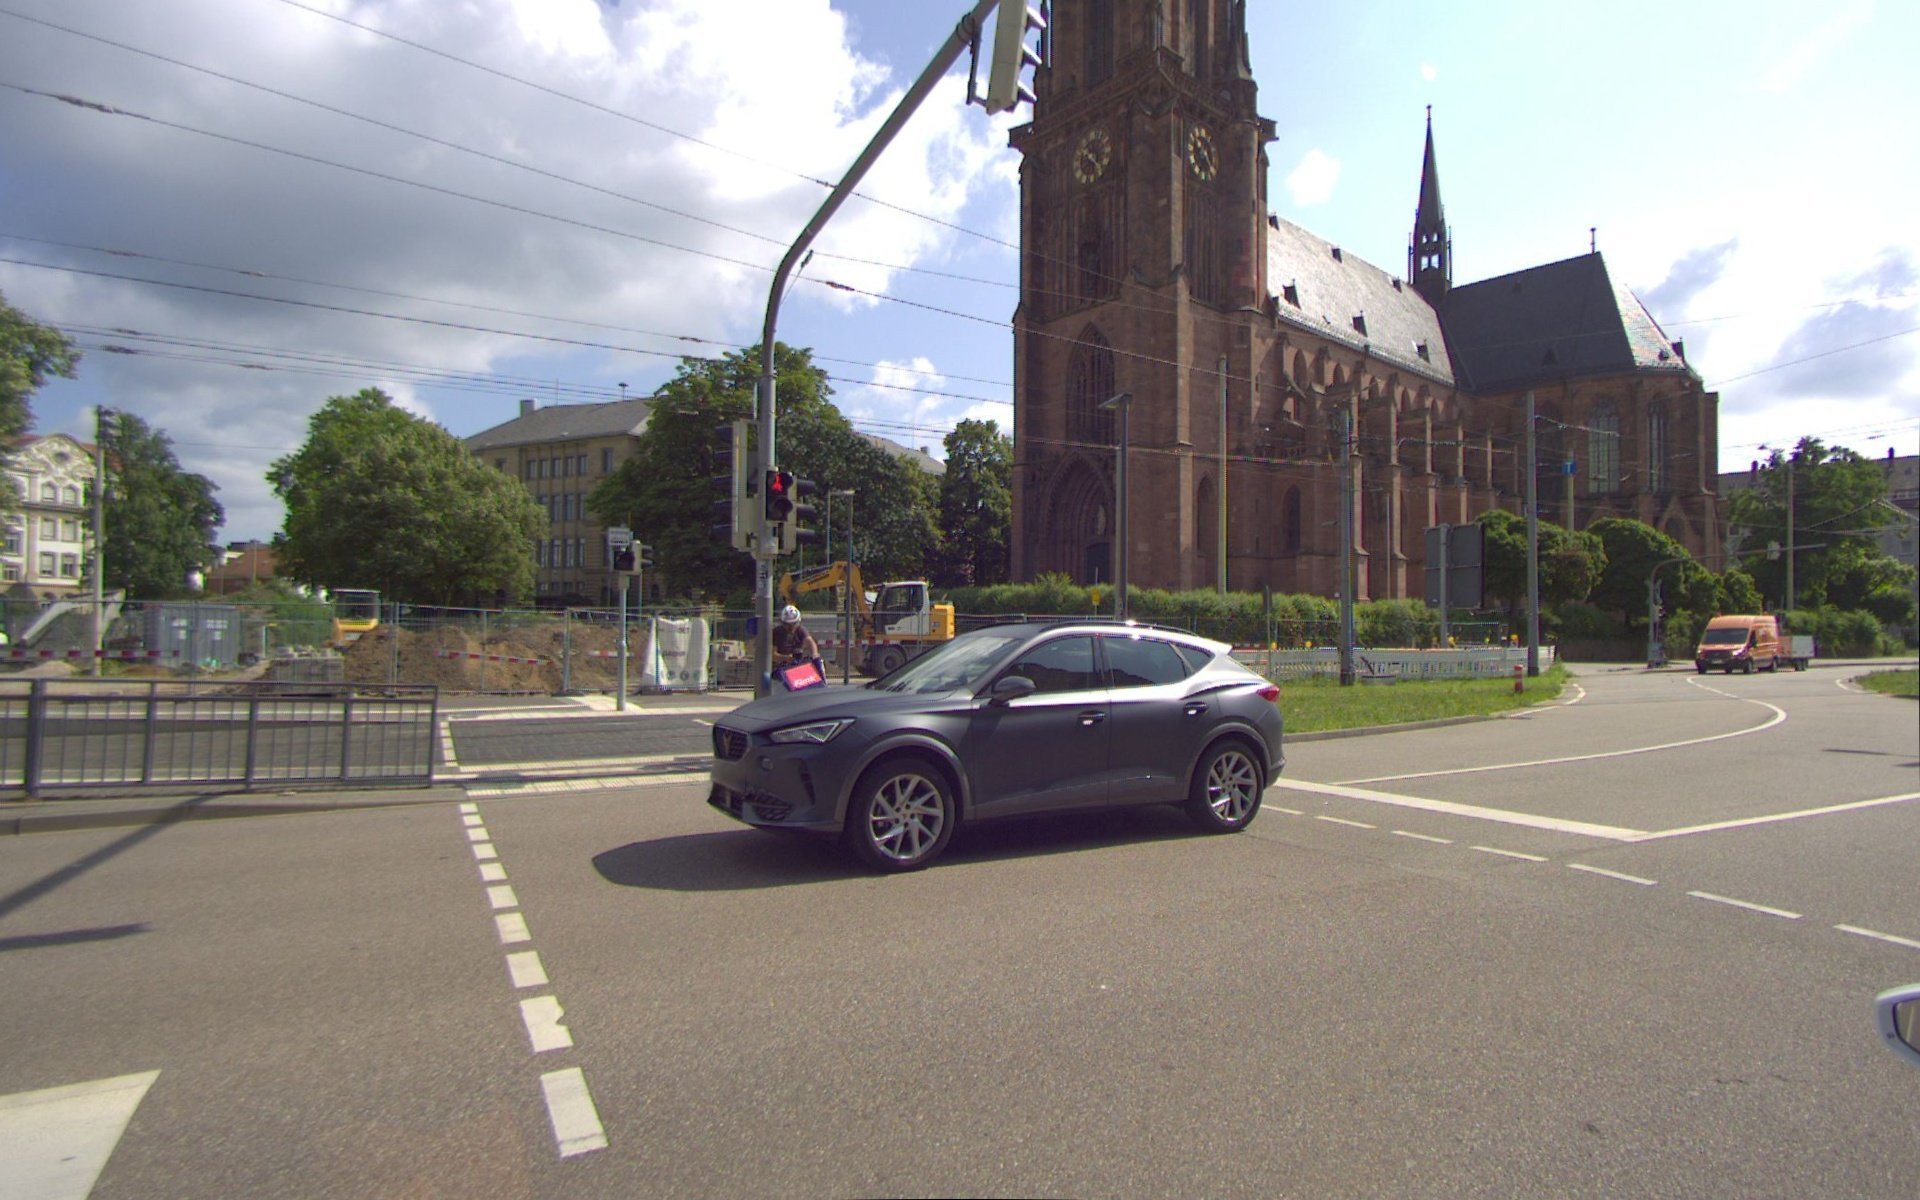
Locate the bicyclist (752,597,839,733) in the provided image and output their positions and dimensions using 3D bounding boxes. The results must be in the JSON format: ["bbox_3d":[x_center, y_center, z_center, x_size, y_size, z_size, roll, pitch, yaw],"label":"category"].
[{"bbox_3d":[-1.887,0.721,11.427,0.812,1.455,1.088,1,-2,-19],"label":"bicyclist"}]

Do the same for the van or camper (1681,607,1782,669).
[{"bbox_3d":[36.476,1.787,47.432,6.146,2.773,2.239,2,-2,-37],"label":"van or camper"}]

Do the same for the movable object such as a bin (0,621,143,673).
[{"bbox_3d":[-28.697,1.440,31.150,5.116,1.522,1.976,2,-2,-42],"label":"movable object such as a bin"}]

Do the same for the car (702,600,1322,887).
[{"bbox_3d":[0.459,0.854,7.336,4.243,1.572,1.792,1,-2,-29],"label":"car"}]

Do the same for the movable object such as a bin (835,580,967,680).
[{"bbox_3d":[-2.008,0.954,33.974,3.945,3.147,1.988,-2,0,-25],"label":"movable object such as a bin"}]

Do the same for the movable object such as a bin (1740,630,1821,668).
[{"bbox_3d":[41.478,2.447,50.760,3.678,1.716,2.193,-1,-1,-34],"label":"movable object such as a bin"}]

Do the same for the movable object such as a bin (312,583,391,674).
[{"bbox_3d":[-21.519,1.011,35.420,1.980,2.950,5.104,1,-2,-35],"label":"movable object such as a bin"}]

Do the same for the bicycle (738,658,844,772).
[{"bbox_3d":[-1.990,1.261,11.589,0.916,1.141,2.017,1,-2,-18],"label":"bicycle"}]
